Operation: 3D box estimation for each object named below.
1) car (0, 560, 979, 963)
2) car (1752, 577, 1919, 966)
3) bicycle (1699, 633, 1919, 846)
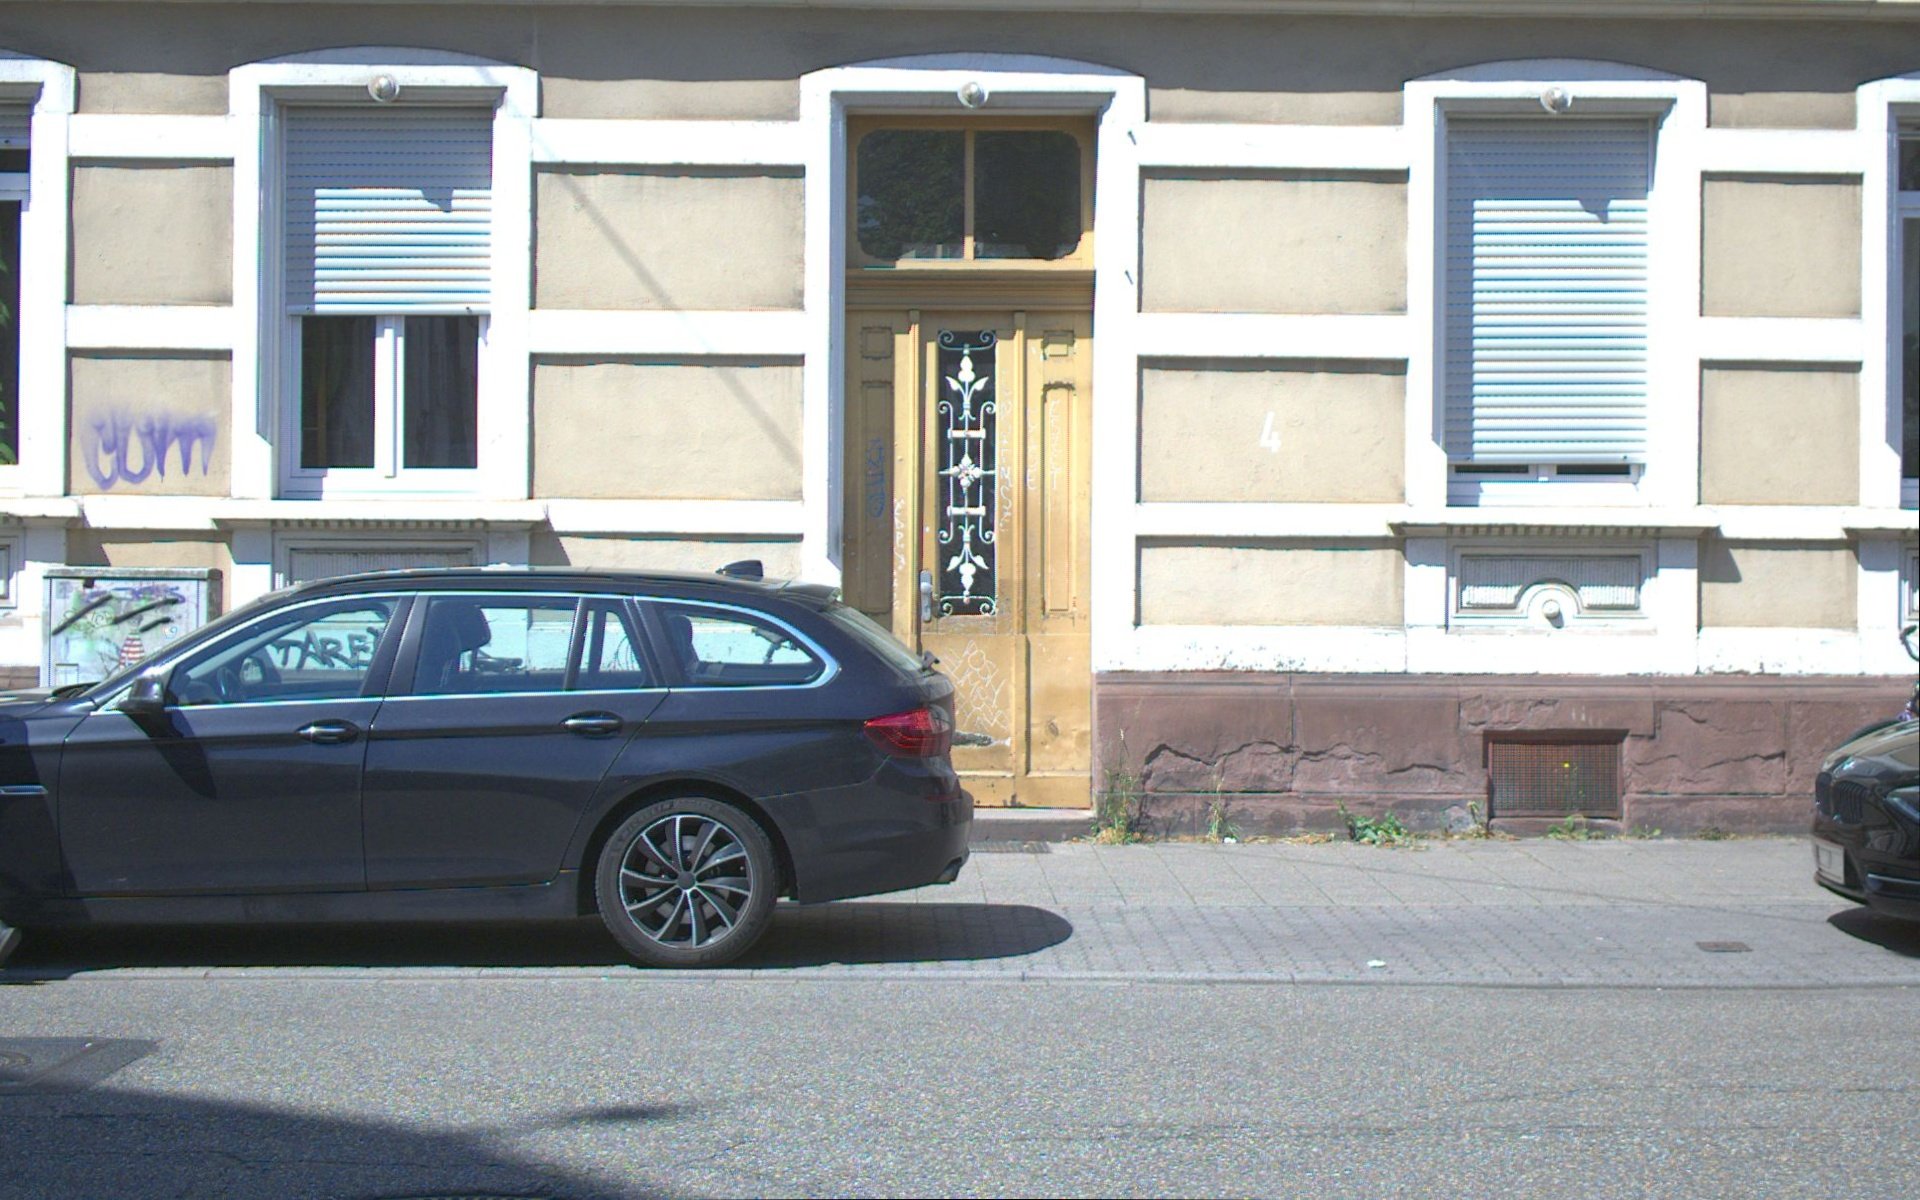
[{"bbox_3d":[-2.391,0.583,13.513,4.859,1.432,2.000,-1,0,-1],"label":"car"},{"bbox_3d":[5.541,0.618,13.773,4.294,1.365,1.807,-1,3,-1],"label":"car"},{"bbox_3d":[4.771,0.692,17.327,2.004,1.018,0.424,-1,3,-4],"label":"bicycle"}]
